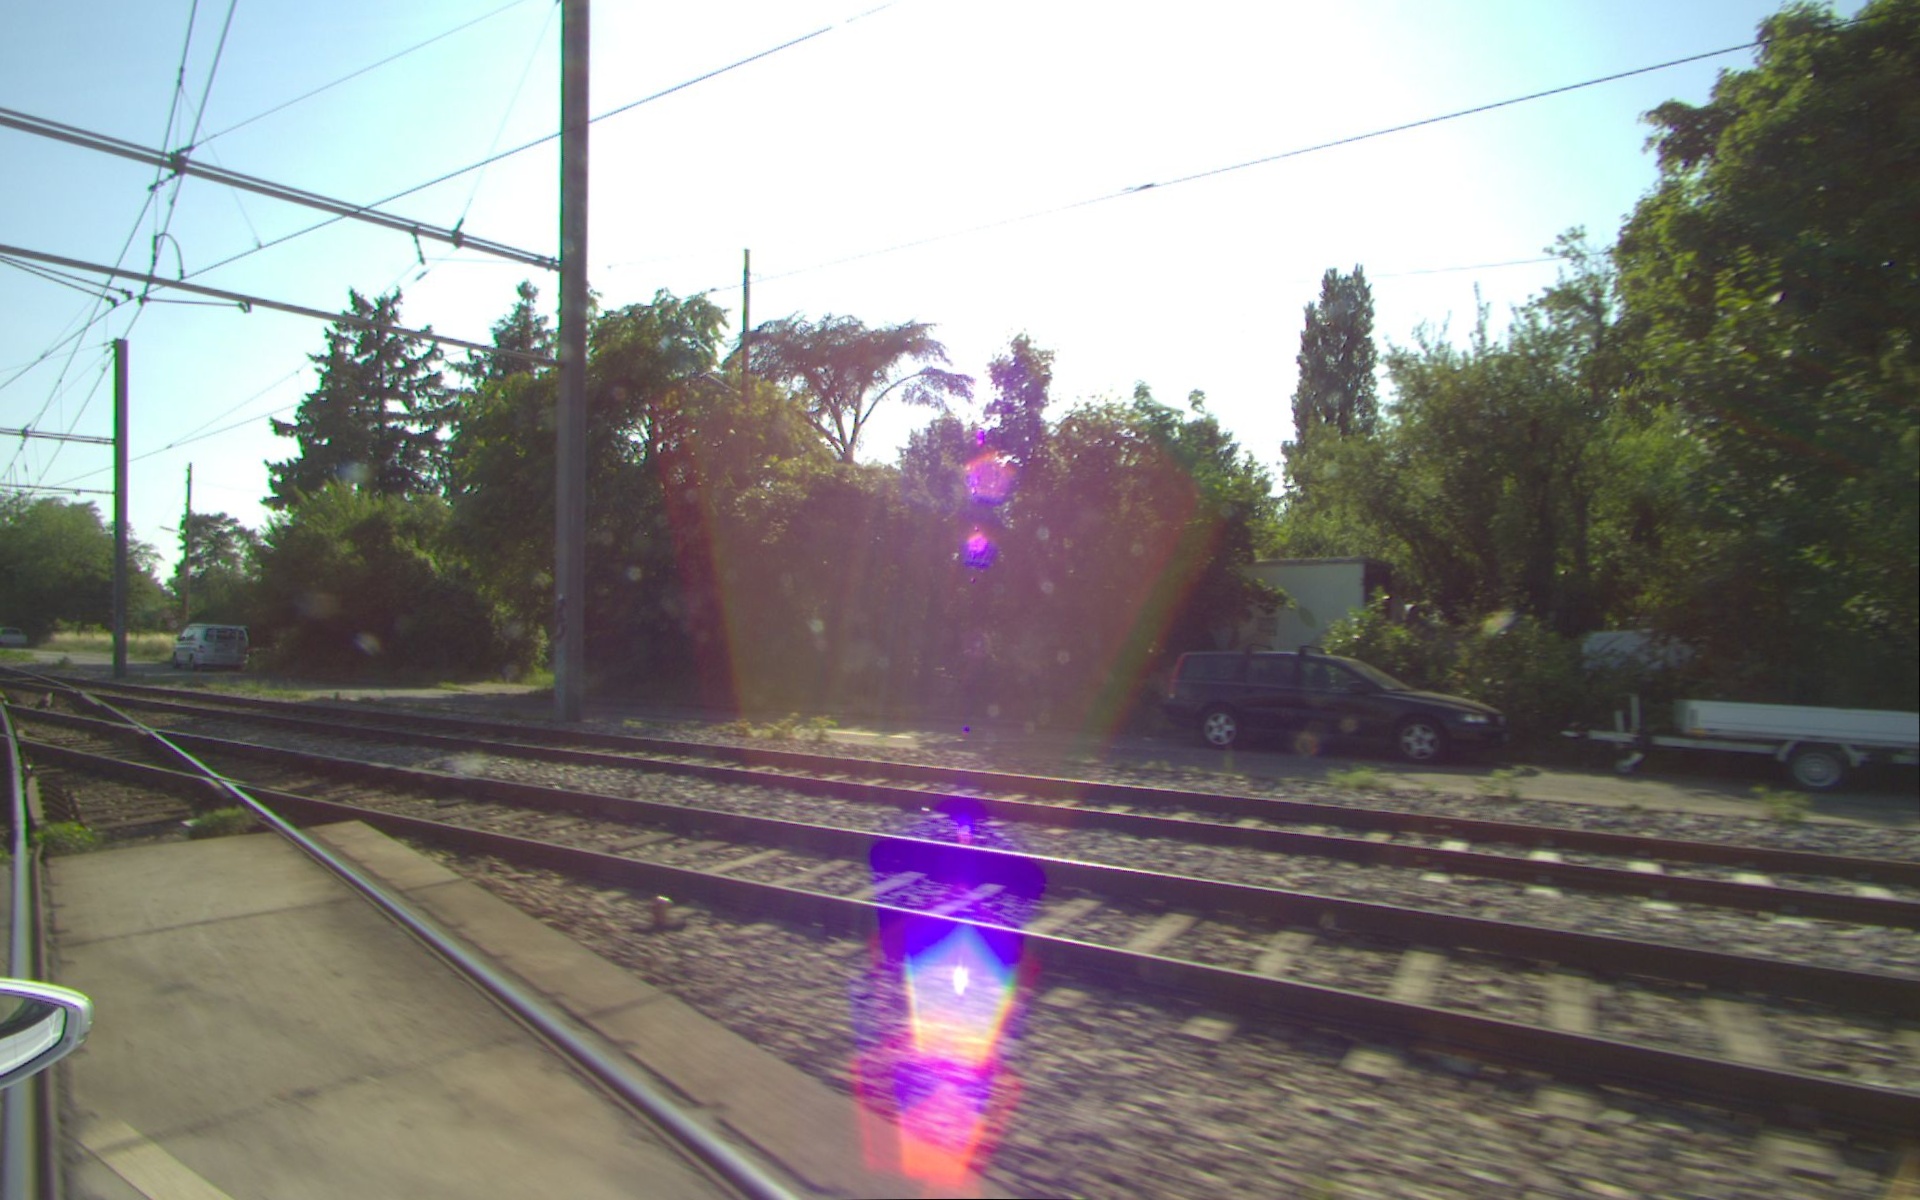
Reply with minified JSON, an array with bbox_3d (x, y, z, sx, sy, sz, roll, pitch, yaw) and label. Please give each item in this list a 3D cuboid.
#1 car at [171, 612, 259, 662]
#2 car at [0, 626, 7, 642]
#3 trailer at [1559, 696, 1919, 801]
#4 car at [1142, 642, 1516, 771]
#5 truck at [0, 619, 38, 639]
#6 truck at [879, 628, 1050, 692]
[{"bbox_3d":[-32.814,1.621,44.048,5.009,2.029,1.986,-1,-4,41],"label":"car"},{"bbox_3d":[-108.732,3.819,112.841,3.508,1.700,1.726,-3,-4,44],"label":"car"},{"bbox_3d":[9.416,1.728,12.133,3.675,0.950,1.730,0,-4,33],"label":"trailer"},{"bbox_3d":[5.237,1.440,14.542,4.814,1.474,1.695,0,-4,35],"label":"car"},{"bbox_3d":[-88.357,2.738,93.942,5.862,1.842,2.194,-1,-2,41],"label":"truck"},{"bbox_3d":[0.088,1.877,32.456,5.334,1.878,1.989,0,-2,34],"label":"truck"}]
